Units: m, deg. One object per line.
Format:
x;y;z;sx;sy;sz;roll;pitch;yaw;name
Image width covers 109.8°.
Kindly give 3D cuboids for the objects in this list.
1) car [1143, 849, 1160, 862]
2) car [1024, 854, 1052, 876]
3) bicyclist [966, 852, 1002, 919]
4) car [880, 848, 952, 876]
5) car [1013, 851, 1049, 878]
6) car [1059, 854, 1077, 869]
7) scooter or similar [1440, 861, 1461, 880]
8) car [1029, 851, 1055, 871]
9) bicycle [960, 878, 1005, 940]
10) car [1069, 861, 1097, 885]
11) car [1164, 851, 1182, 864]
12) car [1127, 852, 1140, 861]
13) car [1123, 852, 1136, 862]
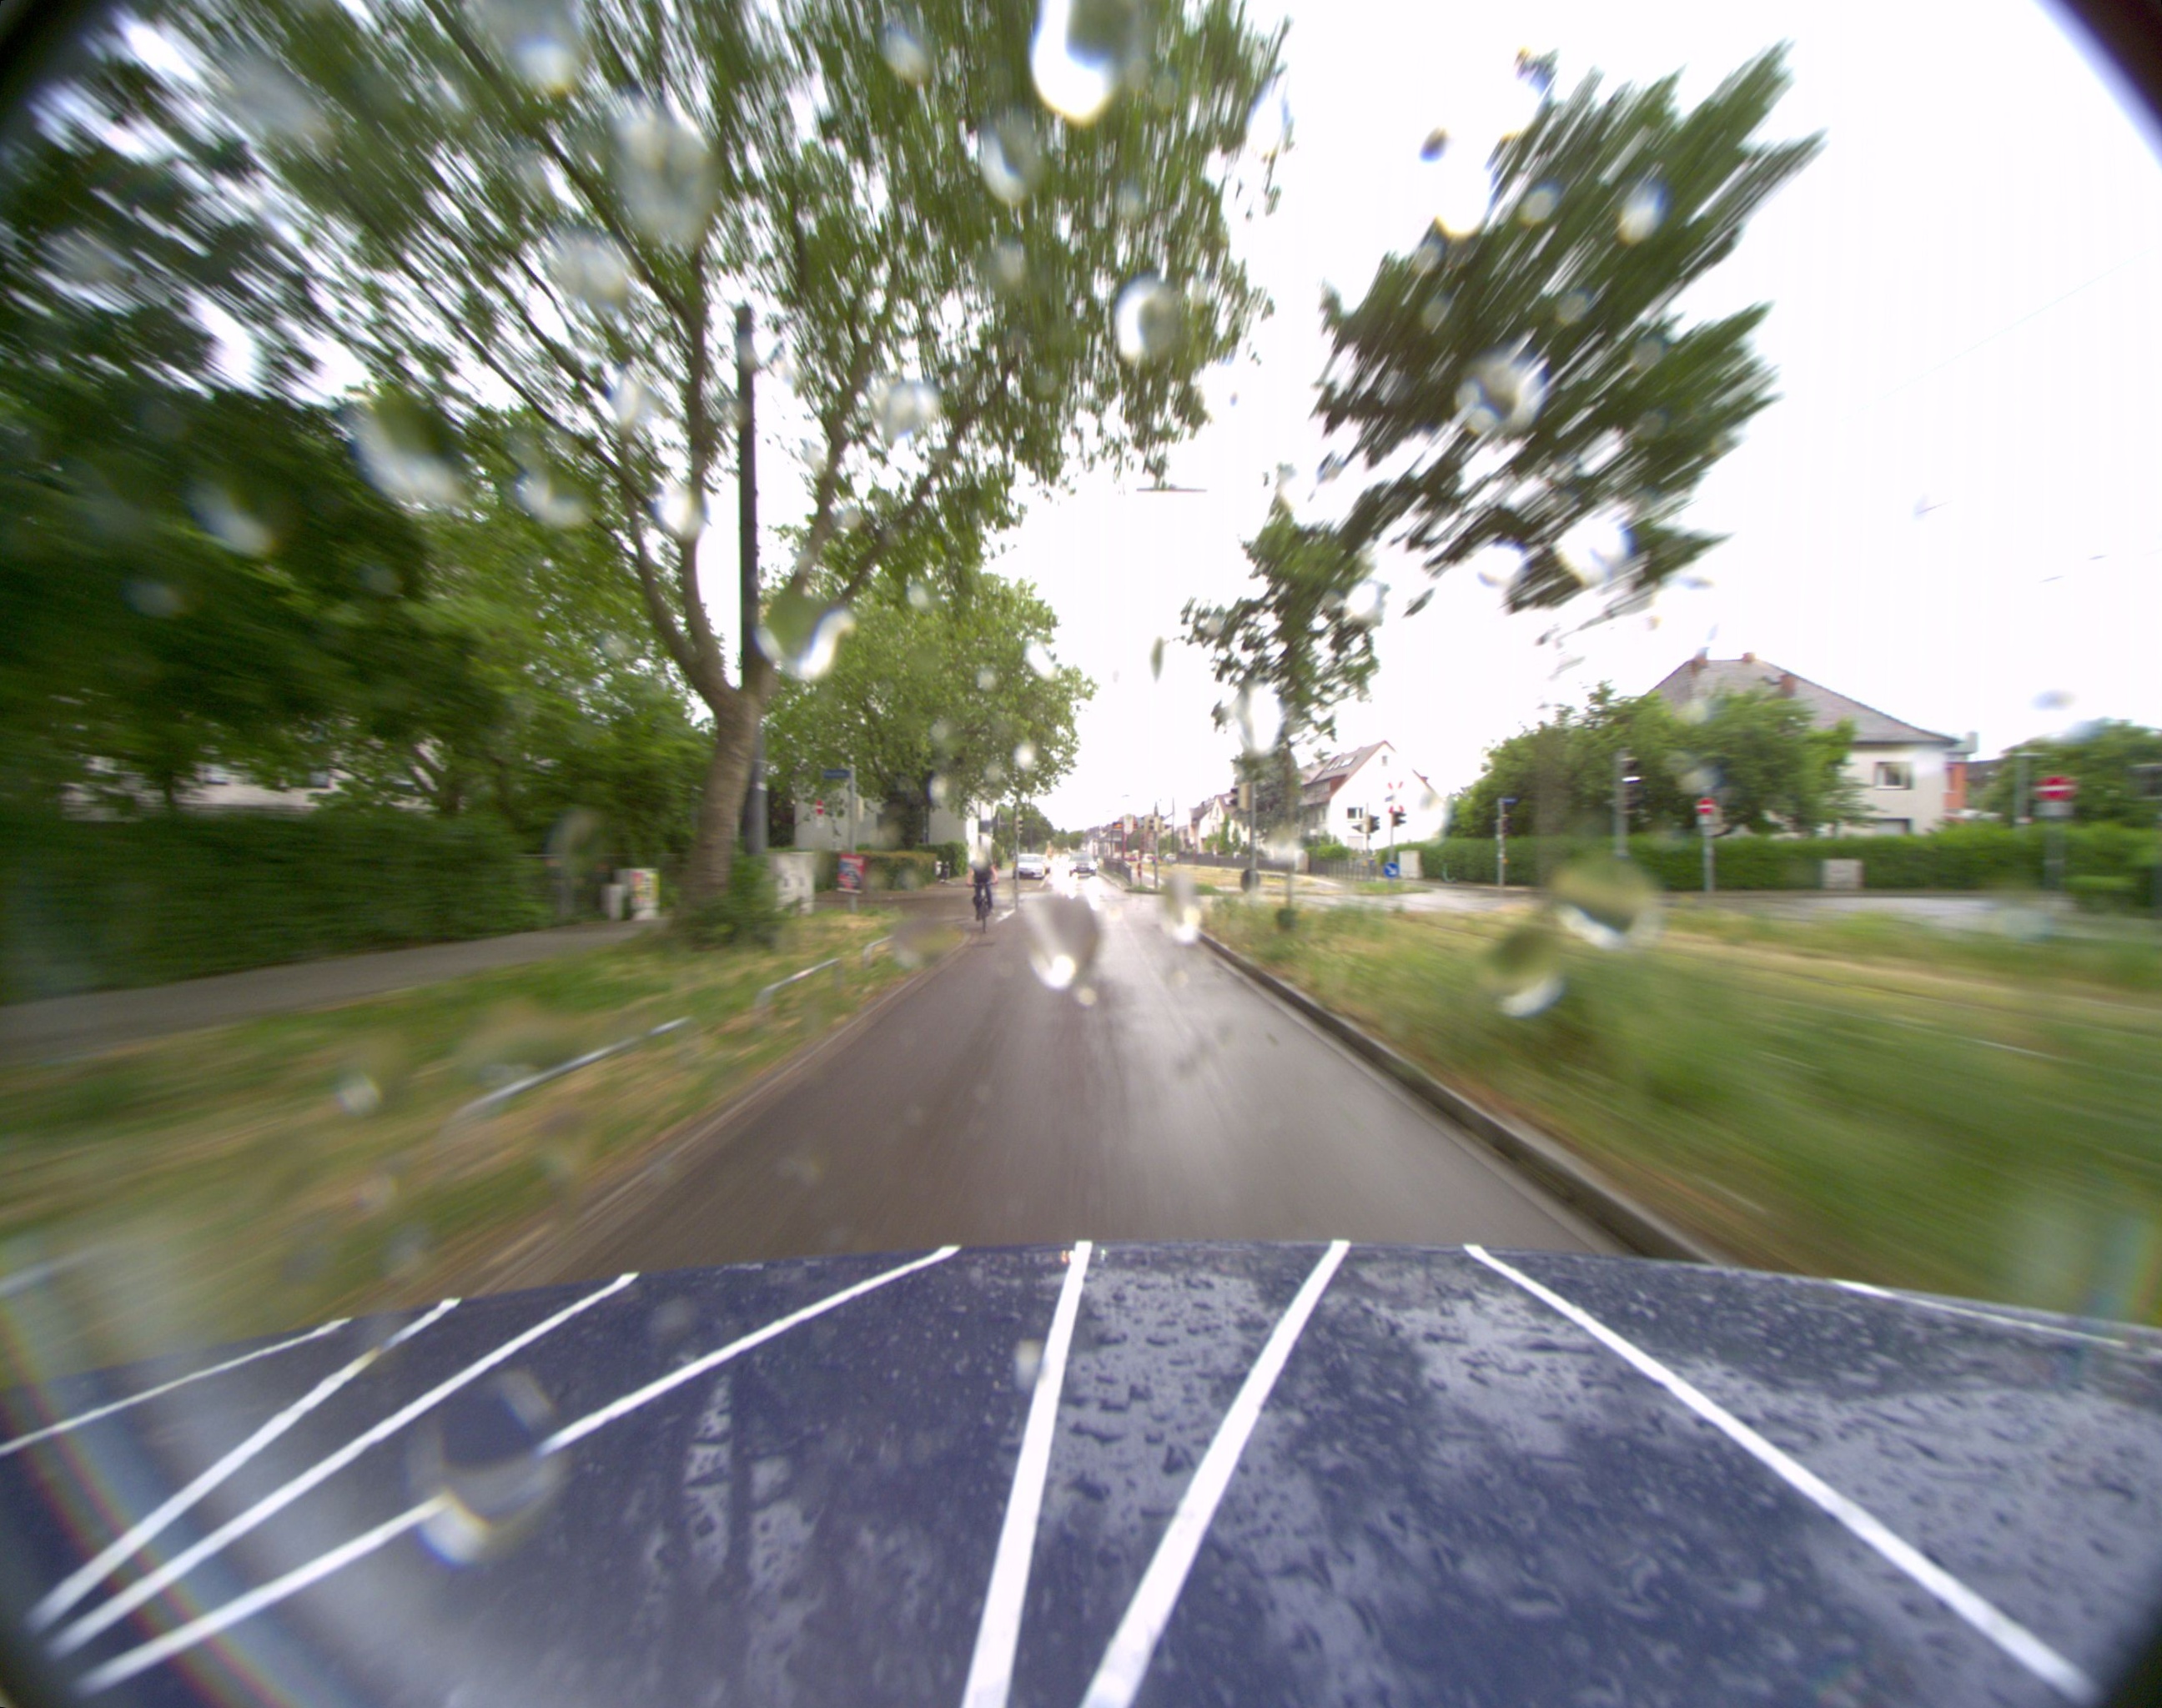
11.023;0.214;118.537;1.999;2.002;3.998;0;0;-4;car
-3.137;0.770;56.178;1.780;1.477;4.000;2;0;0;car
-2.115;0.682;16.631;0.675;1.421;0.753;1;1;0;bicyclist
-9.169;0.439;42.448;3.578;1.399;1.677;2;0;2;car
-2.940;0.581;45.521;1.780;1.477;4.000;2;0;0;car
-1.365;0.801;82.085;1.780;1.477;4.000;2;0;0;car
18.346;0.825;37.748;0.347;0.905;1.258;0;0;-4;scooter or similar
-3.147;0.549;62.100;1.780;1.477;4.000;2;0;0;car
-2.133;1.162;16.674;0.675;1.136;2.445;2;1;-1;bicycle
0.162;1.256;52.242;1.780;1.477;4.000;2;0;0;car
14.081;0.564;116.845;1.999;2.002;3.998;0;0;-5;car
11.059;0.492;159.233;2.000;2.002;3.997;0;0;-6;car
10.463;0.627;164.577;2.000;2.002;3.997;0;0;-6;car
